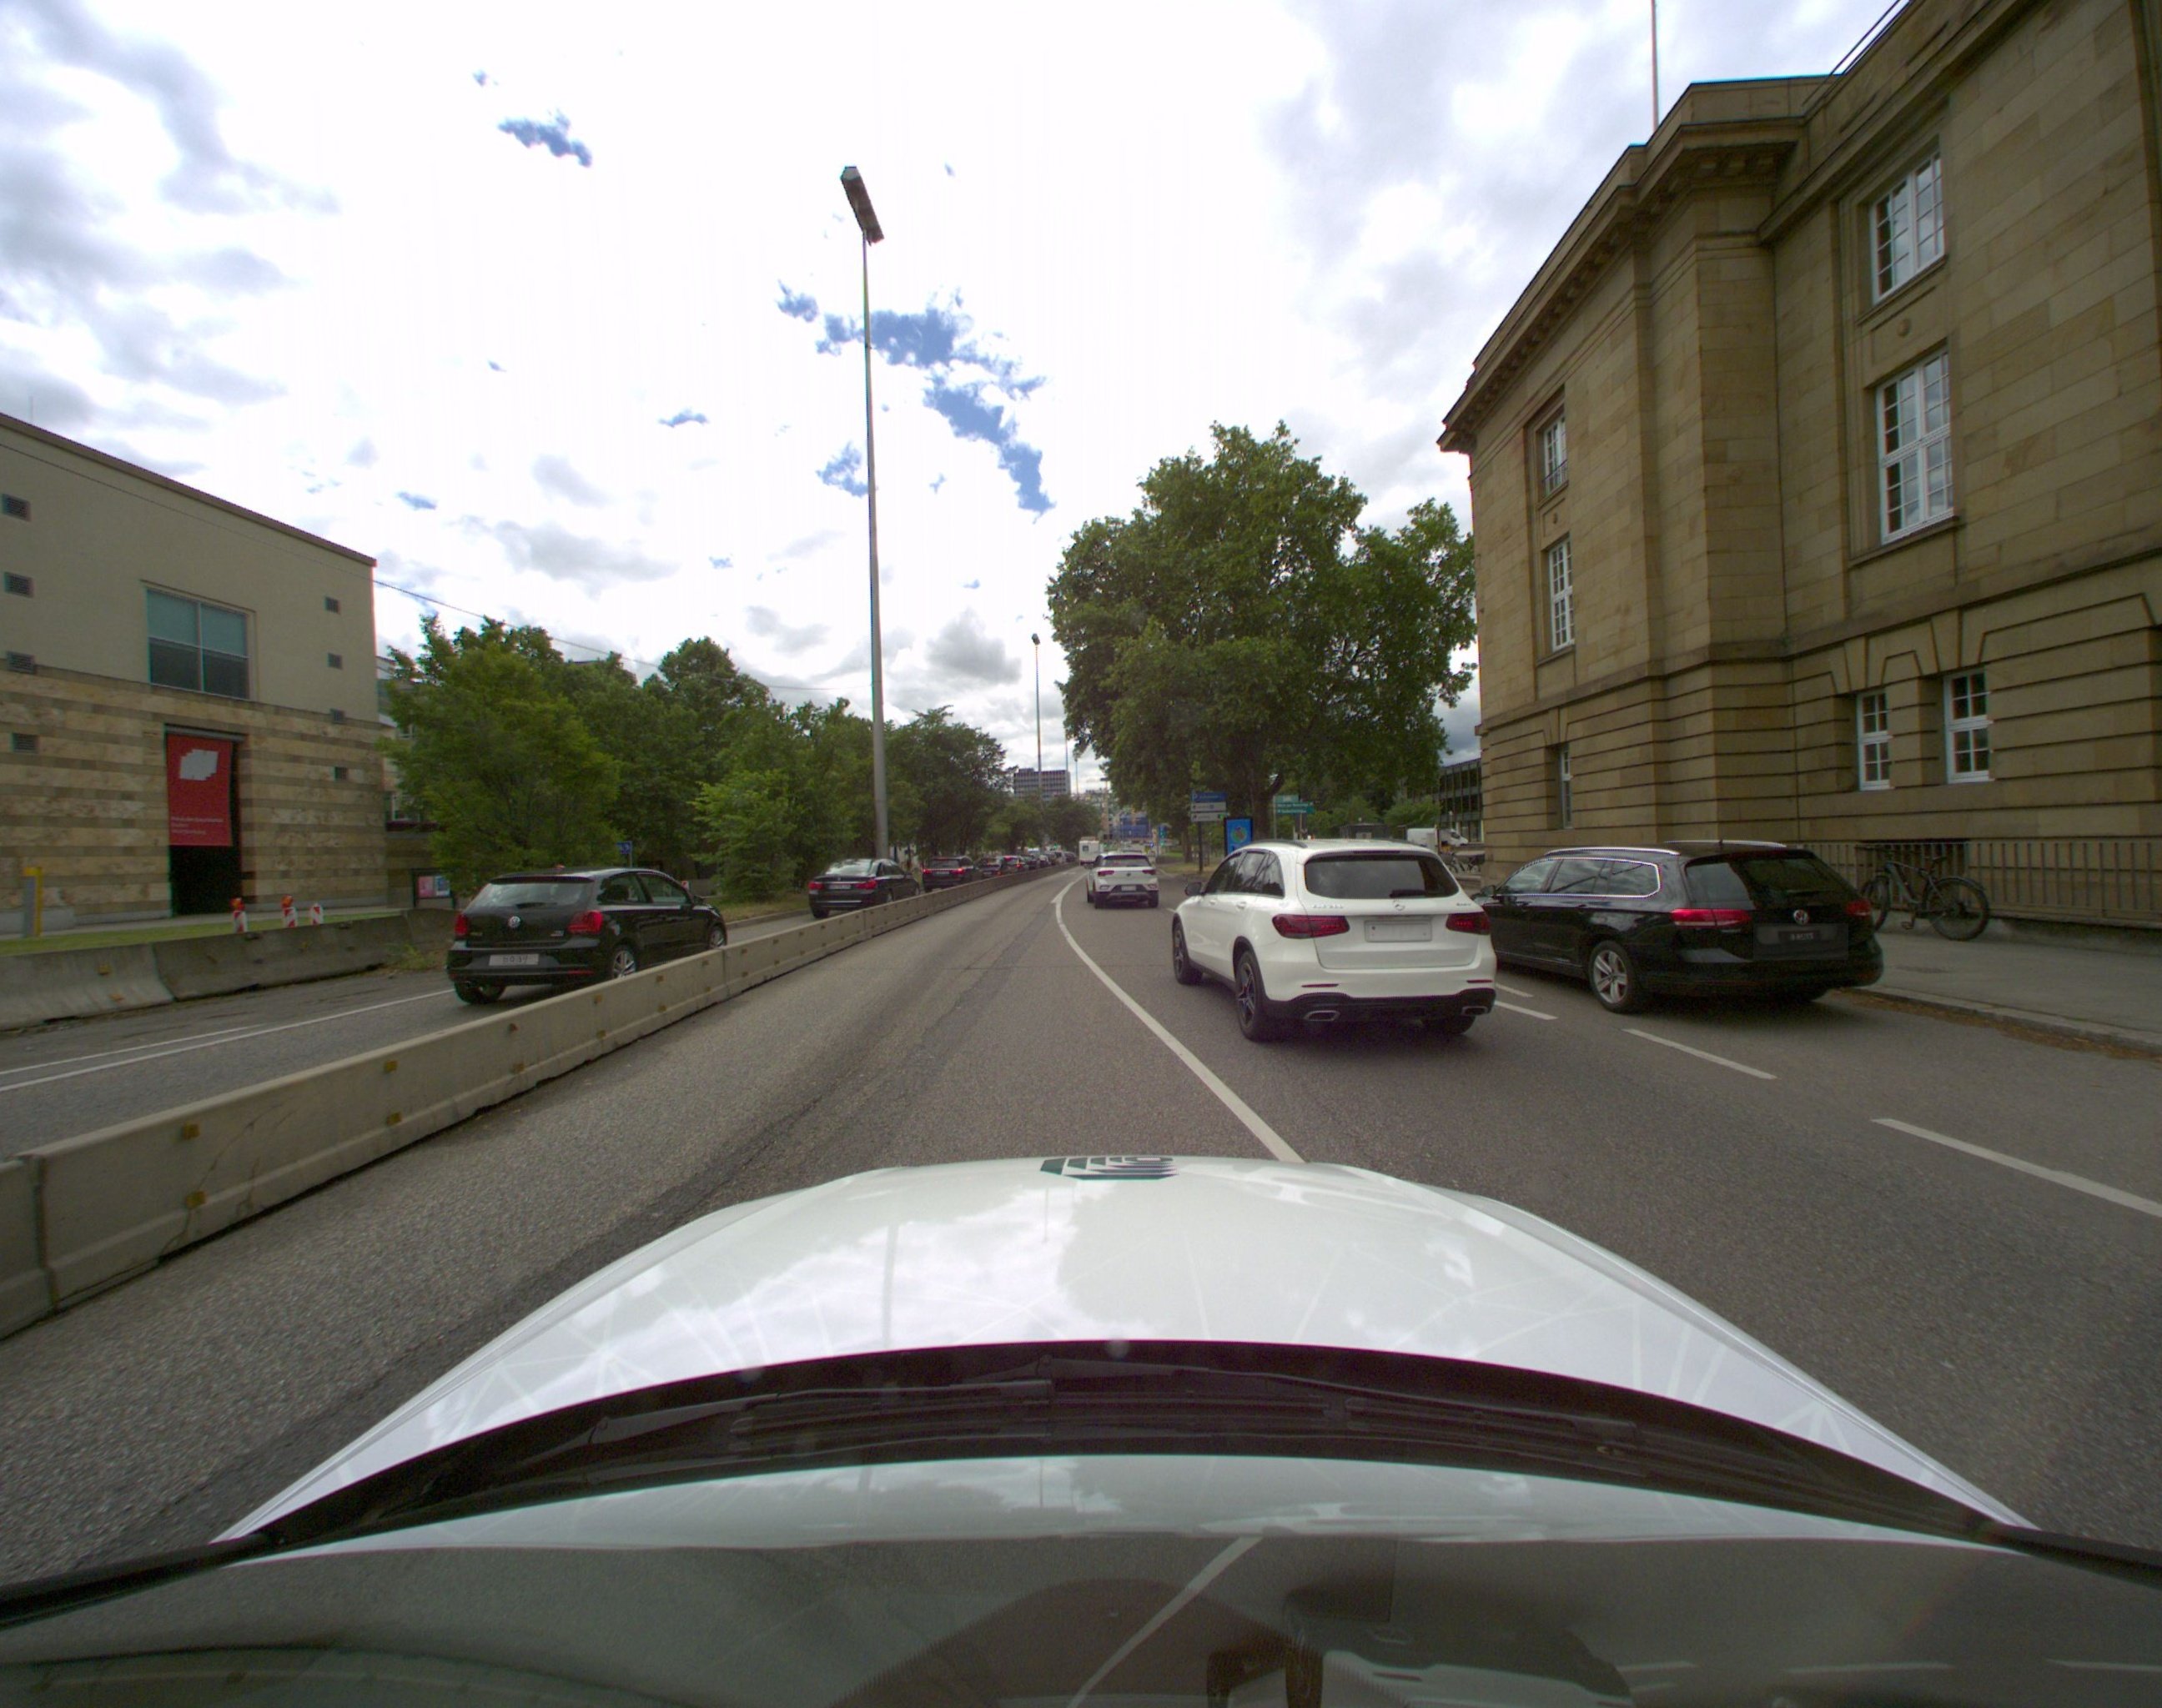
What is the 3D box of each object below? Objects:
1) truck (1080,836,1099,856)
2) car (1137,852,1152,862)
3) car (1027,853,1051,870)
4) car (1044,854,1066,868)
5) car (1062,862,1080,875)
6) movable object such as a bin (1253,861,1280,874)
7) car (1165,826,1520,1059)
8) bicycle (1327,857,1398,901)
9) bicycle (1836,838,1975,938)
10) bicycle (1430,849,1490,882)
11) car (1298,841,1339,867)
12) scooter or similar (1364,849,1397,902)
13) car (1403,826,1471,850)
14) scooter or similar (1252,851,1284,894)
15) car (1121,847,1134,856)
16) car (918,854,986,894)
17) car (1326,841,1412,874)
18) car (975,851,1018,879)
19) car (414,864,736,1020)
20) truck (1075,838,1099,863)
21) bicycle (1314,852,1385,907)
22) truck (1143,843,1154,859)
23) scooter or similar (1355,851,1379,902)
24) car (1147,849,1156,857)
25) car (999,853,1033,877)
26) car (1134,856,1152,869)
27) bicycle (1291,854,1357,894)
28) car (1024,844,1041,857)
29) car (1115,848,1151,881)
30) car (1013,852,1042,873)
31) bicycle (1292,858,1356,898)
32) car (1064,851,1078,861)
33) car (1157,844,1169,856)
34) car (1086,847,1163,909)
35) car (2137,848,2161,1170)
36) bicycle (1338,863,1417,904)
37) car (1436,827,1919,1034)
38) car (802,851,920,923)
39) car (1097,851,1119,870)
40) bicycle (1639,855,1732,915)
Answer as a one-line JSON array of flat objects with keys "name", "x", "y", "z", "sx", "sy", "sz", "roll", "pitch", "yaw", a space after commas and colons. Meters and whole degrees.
[{"name": "truck", "x": 1.337, "y": -1.135, "z": 126.267, "sx": 2.681, "sy": 2.992, "sz": 5.640, "roll": 0, "pitch": 0, "yaw": 2}, {"name": "car", "x": 8.442, "y": 0.425, "z": 108.124, "sx": 1.938, "sy": 1.319, "sz": 4.021, "roll": -1, "pitch": 0, "yaw": 4}, {"name": "car", "x": -3.447, "y": 0.602, "z": 67.371, "sx": 1.653, "sy": 1.319, "sz": 3.549, "roll": -1, "pitch": 0, "yaw": 2}, {"name": "car", "x": -2.414, "y": 0.660, "z": 76.472, "sx": 1.651, "sy": 1.319, "sz": 3.553, "roll": -1, "pitch": 0, "yaw": 6}, {"name": "car", "x": -1.068, "y": 1.564, "z": 88.378, "sx": 1.652, "sy": 1.319, "sz": 3.551, "roll": -1, "pitch": 0, "yaw": 4}, {"name": "movable object such as a bin", "x": 9.401, "y": 0.681, "z": 41.353, "sx": 1.291, "sy": 0.652, "sz": 0.731, "roll": 0, "pitch": -1, "yaw": 11}, {"name": "car", "x": 2.117, "y": 0.628, "z": 8.028, "sx": 1.785, "sy": 1.625, "sz": 4.430, "roll": -1, "pitch": 0, "yaw": -4}, {"name": "bicycle", "x": 6.730, "y": 0.594, "z": 19.513, "sx": 1.552, "sy": 1.028, "sz": 0.437, "roll": 0, "pitch": 0, "yaw": 13}, {"name": "bicycle", "x": 10.532, "y": 0.411, "z": 10.474, "sx": 0.274, "sy": 1.183, "sz": 1.540, "roll": -3, "pitch": -1, "yaw": 5}, {"name": "bicycle", "x": 13.944, "y": 0.420, "z": 29.963, "sx": 2.003, "sy": 1.125, "sz": 0.389, "roll": -2, "pitch": -1, "yaw": 1}, {"name": "car", "x": 15.733, "y": -0.025, "z": 54.197, "sx": 1.753, "sy": 1.551, "sz": 4.031, "roll": -2, "pitch": 2, "yaw": 4}, {"name": "scooter or similar", "x": 7.436, "y": 0.523, "z": 20.257, "sx": 0.559, "sy": 1.278, "sz": 1.151, "roll": 0, "pitch": 0, "yaw": 8}, {"name": "car", "x": 37.410, "y": -1.687, "z": 85.660, "sx": 6.079, "sy": 2.260, "sz": 2.404, "roll": -2, "pitch": 0, "yaw": 4}, {"name": "scooter or similar", "x": 5.895, "y": 0.577, "z": 25.740, "sx": 0.723, "sy": 1.331, "sz": 1.414, "roll": 0, "pitch": 0, "yaw": 1}, {"name": "car", "x": 6.965, "y": -0.390, "z": 122.432, "sx": 1.938, "sy": 1.319, "sz": 4.021, "roll": -1, "pitch": 0, "yaw": 4}, {"name": "car", "x": -5.247, "y": 0.760, "z": 33.673, "sx": 1.809, "sy": 1.499, "sz": 4.772, "roll": -2, "pitch": 0, "yaw": 2}, {"name": "car", "x": 14.685, "y": 0.192, "z": 41.690, "sx": 3.820, "sy": 1.568, "sz": 1.680, "roll": -1, "pitch": 0, "yaw": 2}, {"name": "car", "x": -4.568, "y": 0.572, "z": 44.521, "sx": 1.671, "sy": 1.367, "sz": 4.546, "roll": -2, "pitch": 0, "yaw": 2}, {"name": "car", "x": -5.818, "y": 0.874, "z": 10.061, "sx": 1.657, "sy": 1.454, "sz": 4.190, "roll": -1, "pitch": 0, "yaw": -5}, {"name": "truck", "x": 0.779, "y": -0.403, "z": 98.107, "sx": 2.611, "sy": 2.861, "sz": 7.082, "roll": 0, "pitch": 0, "yaw": 2}, {"name": "bicycle", "x": 6.247, "y": 0.577, "z": 18.952, "sx": 1.529, "sy": 1.257, "sz": 0.546, "roll": 0, "pitch": 0, "yaw": 21}, {"name": "truck", "x": 17.683, "y": -0.717, "z": 213.694, "sx": 2.865, "sy": 4.103, "sz": 6.644, "roll": 0, "pitch": 0, "yaw": 3}, {"name": "scooter or similar", "x": 7.155, "y": 0.545, "z": 20.421, "sx": 0.423, "sy": 1.224, "sz": 1.317, "roll": 0, "pitch": -1, "yaw": 12}, {"name": "car", "x": 15.364, "y": -0.265, "z": 178.231, "sx": 1.751, "sy": 1.669, "sz": 4.171, "roll": -2, "pitch": 0, "yaw": 3}, {"name": "car", "x": -4.042, "y": 0.687, "z": 51.295, "sx": 1.655, "sy": 1.436, "sz": 3.963, "roll": -1, "pitch": 0, "yaw": 2}, {"name": "car", "x": 7.150, "y": 0.967, "z": 93.790, "sx": 1.938, "sy": 1.428, "sz": 4.021, "roll": -1, "pitch": 0, "yaw": 4}, {"name": "bicycle", "x": 6.649, "y": 0.540, "z": 22.318, "sx": 1.715, "sy": 1.091, "sz": 0.382, "roll": 0, "pitch": 0, "yaw": 15}, {"name": "car", "x": -7.672, "y": -0.489, "z": 129.631, "sx": 2.107, "sy": 1.969, "sz": 5.582, "roll": -2, "pitch": 0, "yaw": 3}, {"name": "car", "x": 2.731, "y": 0.540, "z": 43.473, "sx": 1.654, "sy": 1.639, "sz": 3.547, "roll": -1, "pitch": 0, "yaw": 0}, {"name": "car", "x": -3.882, "y": 0.602, "z": 59.312, "sx": 1.770, "sy": 1.420, "sz": 4.000, "roll": -2, "pitch": 0, "yaw": 1}, {"name": "bicycle", "x": 6.800, "y": 0.677, "z": 22.839, "sx": 1.715, "sy": 1.091, "sz": 0.427, "roll": 0, "pitch": 0, "yaw": 15}, {"name": "car", "x": -1.307, "y": 0.260, "z": 107.679, "sx": 1.652, "sy": 1.319, "sz": 3.551, "roll": -1, "pitch": 0, "yaw": 4}, {"name": "car", "x": 13.564, "y": -0.633, "z": 134.892, "sx": 1.985, "sy": 2.013, "sz": 4.004, "roll": -1, "pitch": 0, "yaw": 4}, {"name": "car", "x": 1.164, "y": 0.639, "z": 23.543, "sx": 1.792, "sy": 1.608, "sz": 3.750, "roll": -1, "pitch": 0, "yaw": -4}, {"name": "car", "x": 5.563, "y": 0.643, "z": 1.636, "sx": 1.702, "sy": 1.426, "sz": 3.997, "roll": -3, "pitch": 0, "yaw": 1}, {"name": "bicycle", "x": 6.974, "y": 0.689, "z": 19.175, "sx": 1.713, "sy": 0.917, "sz": 0.617, "roll": -2, "pitch": 0, "yaw": 21}, {"name": "car", "x": 5.540, "y": 0.570, "z": 8.436, "sx": 1.782, "sy": 1.486, "sz": 4.325, "roll": -3, "pitch": 0, "yaw": 0}, {"name": "car", "x": -5.596, "y": 0.765, "z": 21.403, "sx": 1.919, "sy": 1.636, "sz": 4.932, "roll": -1, "pitch": 0, "yaw": -3}, {"name": "car", "x": 2.156, "y": 0.530, "z": 64.932, "sx": 1.652, "sy": 1.413, "sz": 3.549, "roll": -1, "pitch": 0, "yaw": 2}, {"name": "bicycle", "x": 10.750, "y": 0.524, "z": 14.557, "sx": 0.239, "sy": 0.997, "sz": 1.964, "roll": -2, "pitch": 0, "yaw": 2}]
